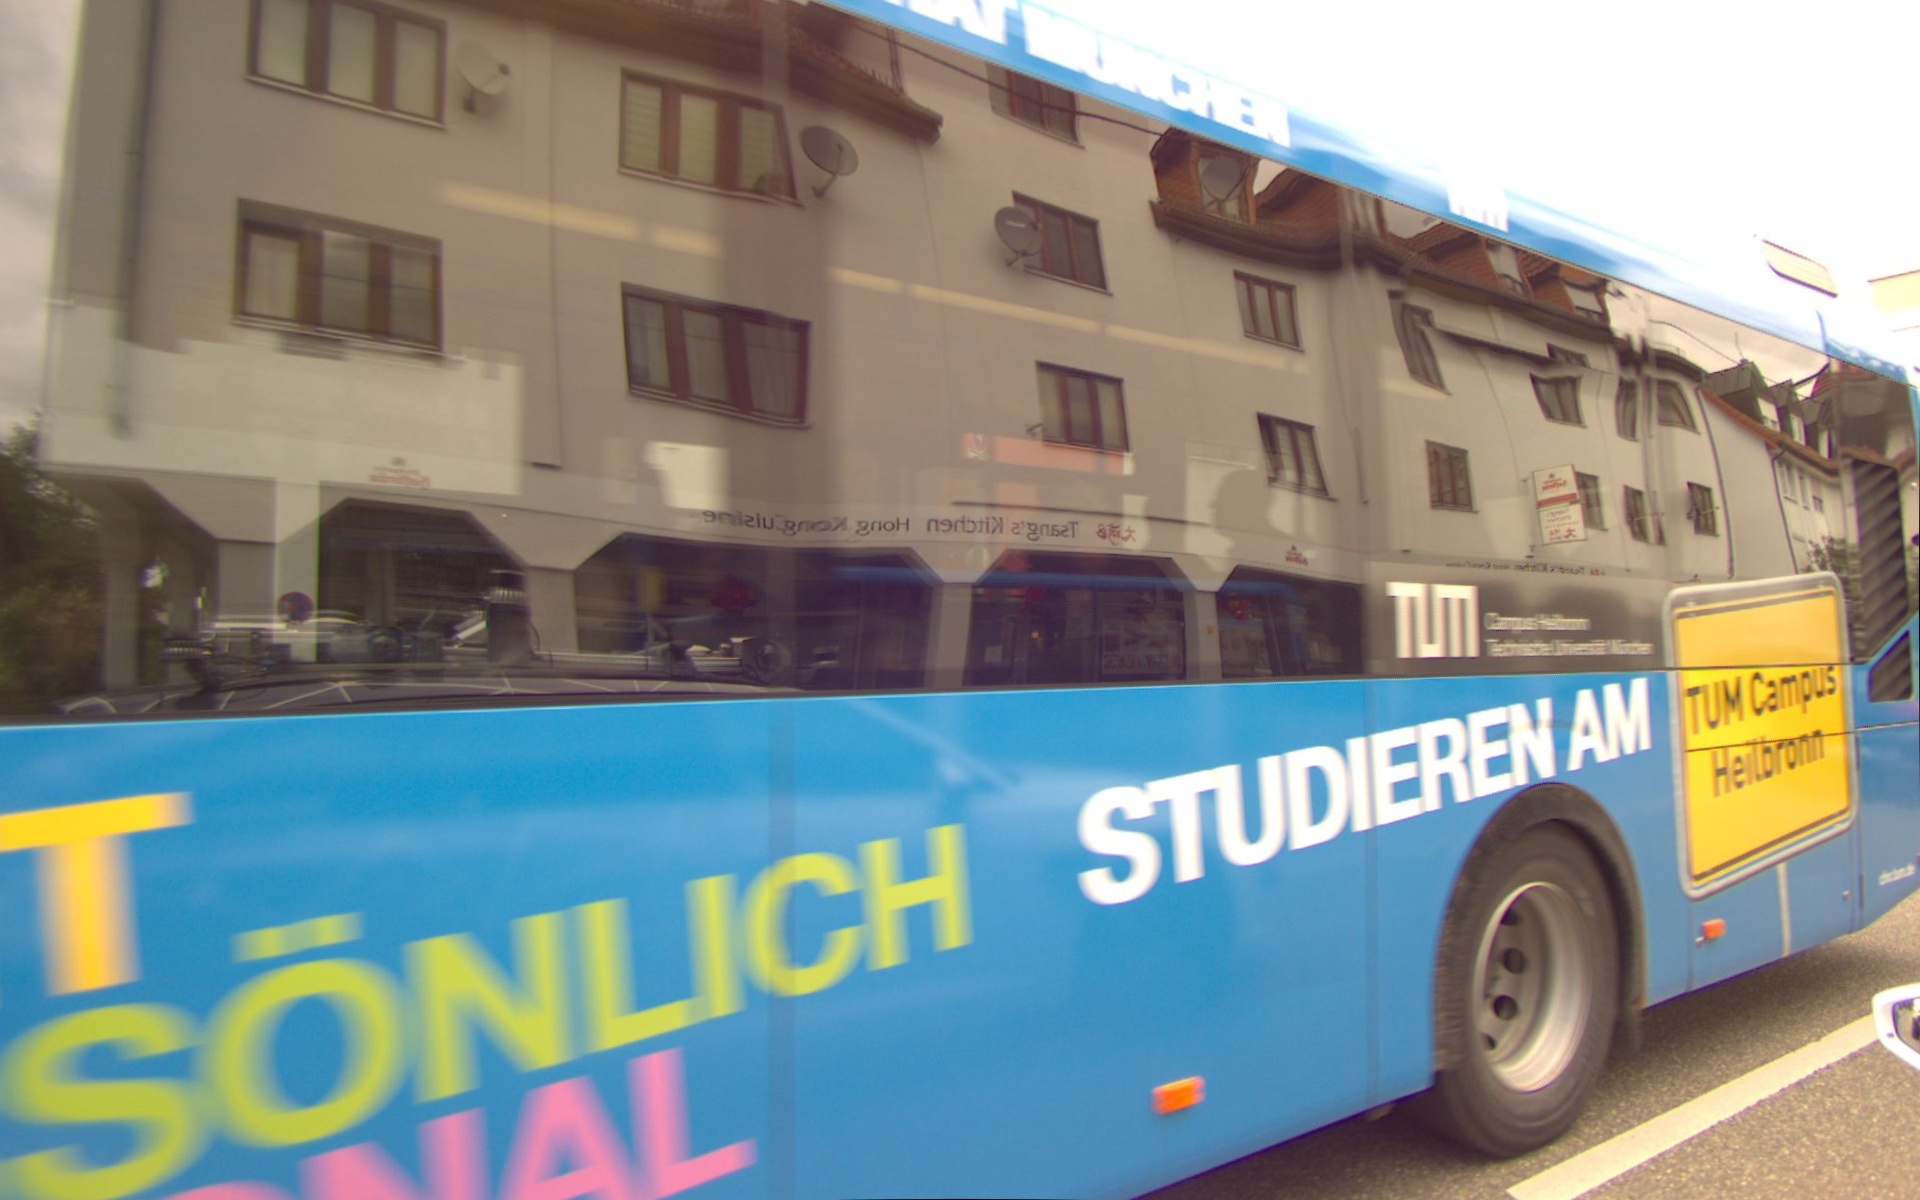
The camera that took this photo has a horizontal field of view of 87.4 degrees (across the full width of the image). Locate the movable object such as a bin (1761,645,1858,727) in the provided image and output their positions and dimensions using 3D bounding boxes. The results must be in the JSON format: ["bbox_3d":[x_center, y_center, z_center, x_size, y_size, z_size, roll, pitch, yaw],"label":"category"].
[{"bbox_3d":[12.990,1.287,15.367,0.832,1.166,0.950,1,-1,-34],"label":"movable object such as a bin"}]

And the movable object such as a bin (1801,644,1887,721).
[{"bbox_3d":[14.255,1.305,16.211,0.606,1.166,0.935,1,-1,-34],"label":"movable object such as a bin"}]

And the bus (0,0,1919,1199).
[{"bbox_3d":[-1.082,-0.104,2.862,11.870,3.317,2.928,1,-2,-31],"label":"bus"}]

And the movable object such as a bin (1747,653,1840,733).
[{"bbox_3d":[12.301,1.351,14.831,0.785,1.103,0.889,1,-1,-34],"label":"movable object such as a bin"}]

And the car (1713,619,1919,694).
[{"bbox_3d":[21.441,1.335,24.890,1.702,1.689,4.149,2,-2,-26],"label":"car"}]

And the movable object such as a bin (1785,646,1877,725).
[{"bbox_3d":[13.693,1.325,15.804,0.741,1.166,0.942,1,-1,-34],"label":"movable object such as a bin"}]
